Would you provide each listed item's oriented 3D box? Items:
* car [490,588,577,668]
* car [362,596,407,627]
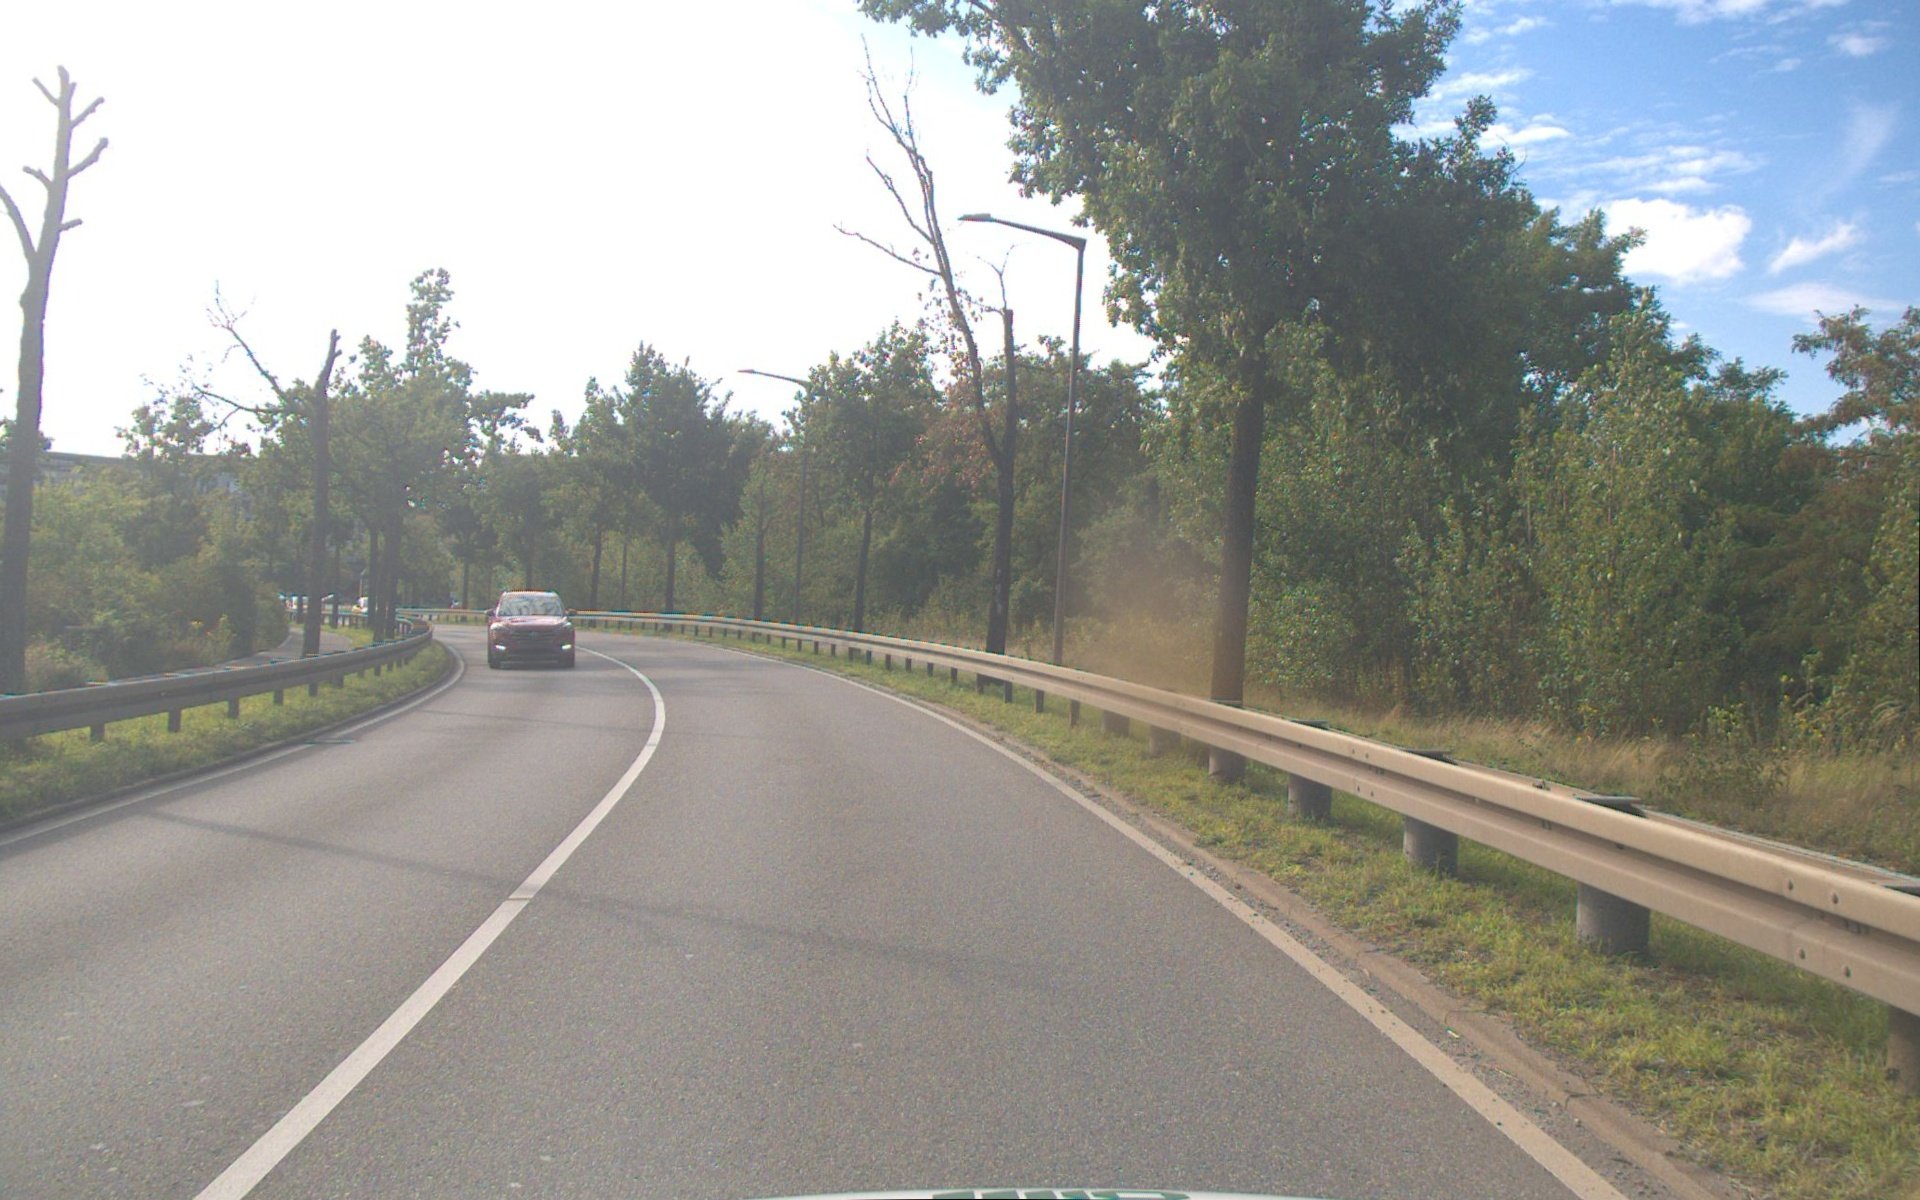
[{"bbox_3d":[-9.689,0.602,37.525,1.779,1.703,4.280,1,0,-15],"label":"car"},{"bbox_3d":[-27.151,0.521,77.965,1.775,1.450,3.844,0,0,-23],"label":"car"}]
